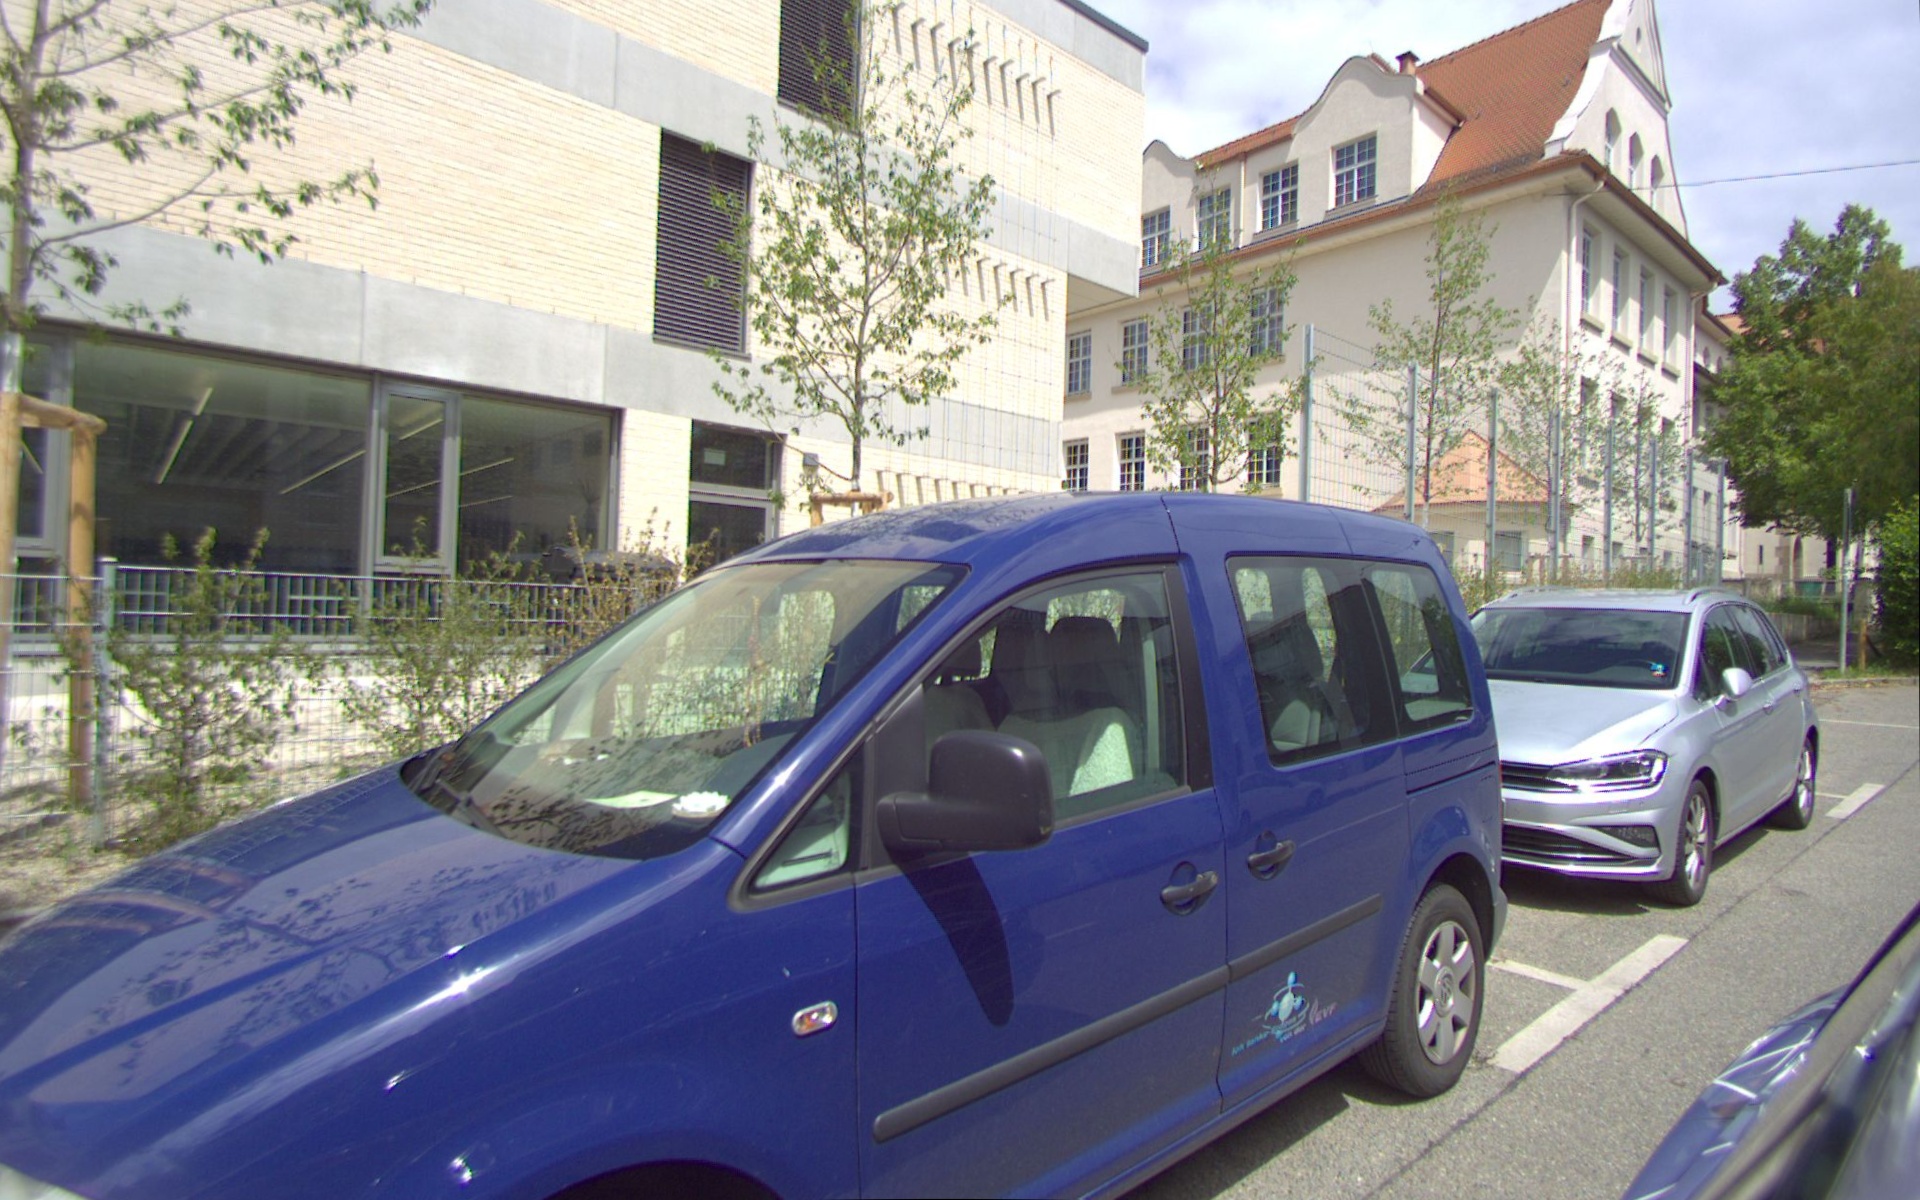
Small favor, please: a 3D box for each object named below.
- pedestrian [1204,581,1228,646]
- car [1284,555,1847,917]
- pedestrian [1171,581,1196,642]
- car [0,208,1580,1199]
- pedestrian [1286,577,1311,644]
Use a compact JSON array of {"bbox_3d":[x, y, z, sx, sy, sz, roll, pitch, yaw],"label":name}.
[{"bbox_3d":[5.396,0.275,21.349,0.370,1.344,0.346,0,0,42],"label":"pedestrian"},{"bbox_3d":[4.009,0.544,6.368,4.288,1.528,1.789,-1,1,-41],"label":"car"},{"bbox_3d":[4.962,0.249,22.465,0.370,1.344,0.437,0,0,41],"label":"pedestrian"},{"bbox_3d":[-0.036,0.498,2.914,4.436,1.790,1.847,-1,1,-41],"label":"car"},{"bbox_3d":[6.934,0.206,20.730,0.313,1.344,0.371,0,0,-44],"label":"pedestrian"}]
